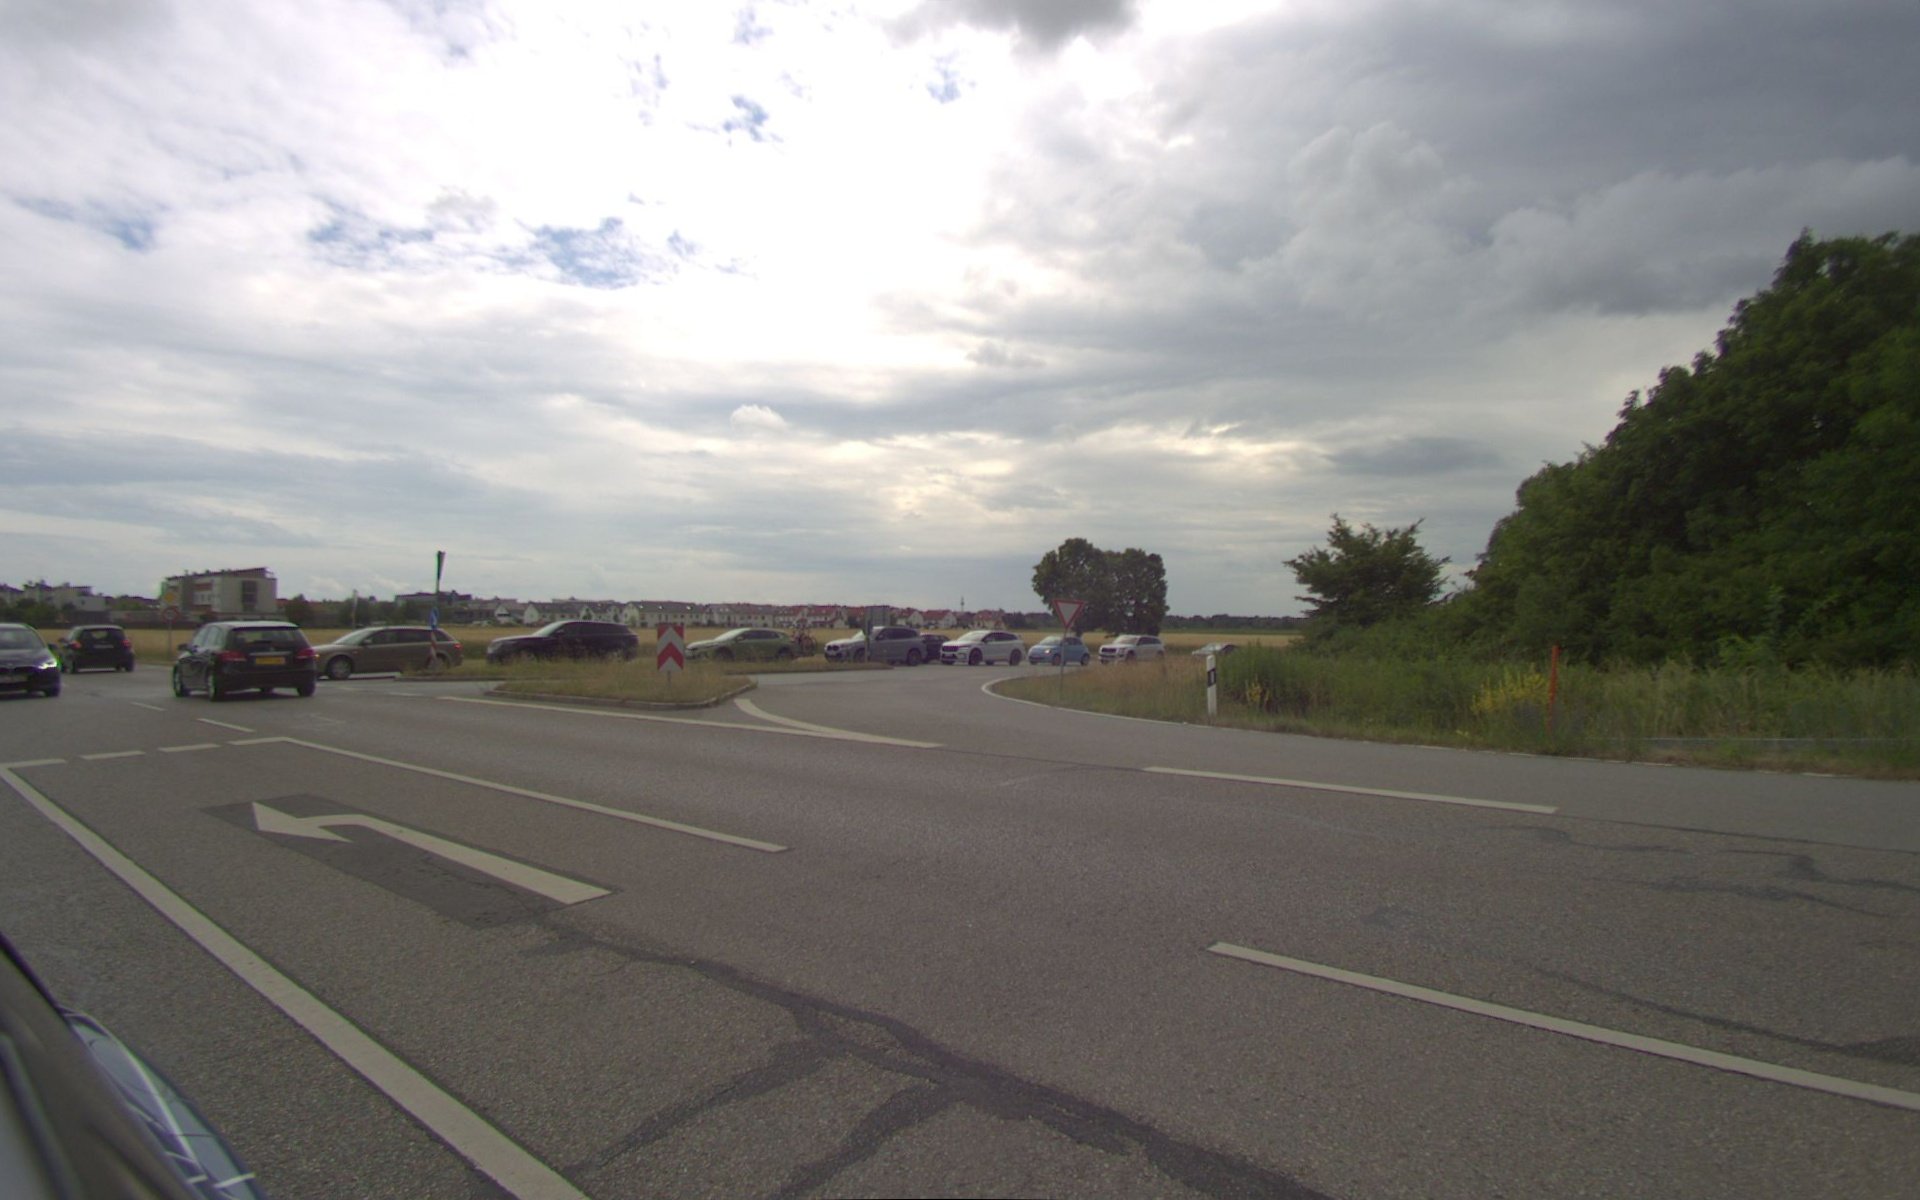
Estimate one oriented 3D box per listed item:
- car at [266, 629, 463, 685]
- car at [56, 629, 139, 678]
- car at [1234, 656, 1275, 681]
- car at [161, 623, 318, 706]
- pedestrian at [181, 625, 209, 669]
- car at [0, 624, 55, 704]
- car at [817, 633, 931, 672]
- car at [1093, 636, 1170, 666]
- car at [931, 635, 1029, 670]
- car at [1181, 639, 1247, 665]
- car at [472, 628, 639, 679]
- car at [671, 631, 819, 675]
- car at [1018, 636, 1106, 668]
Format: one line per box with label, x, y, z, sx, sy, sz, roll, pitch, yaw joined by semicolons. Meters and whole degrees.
car;-16.591;1.539;28.415;1.906;1.435;4.414;-1;-2;33
car;-28.683;1.749;33.627;3.167;1.495;1.644;-2;-1;41
car;22.235;5.148;76.238;1.904;1.694;4.458;-1;-2;31
car;-15.032;1.276;21.037;4.196;1.542;1.724;-2;-2;41
pedestrian;-29.262;1.797;38.709;0.865;1.617;0.587;-2;-5;39
car;-21.599;1.394;22.481;4.479;1.623;1.685;-2;-1;41
car;-3.546;2.133;42.325;4.568;1.528;1.913;1;-2;-42
car;9.308;2.735;54.812;1.912;1.493;4.440;-2;-3;45
car;0.949;2.354;46.287;4.437;1.493;1.913;1;-2;-42
car;15.420;3.146;61.406;1.912;1.493;4.440;-2;-3;45
car;-13.149;1.688;33.074;4.682;1.543;1.913;1;-2;-42
car;-8.012;1.925;38.076;5.221;1.533;1.913;1;-2;-42
car;5.123;2.558;50.528;4.437;1.493;1.913;1;-2;-42
